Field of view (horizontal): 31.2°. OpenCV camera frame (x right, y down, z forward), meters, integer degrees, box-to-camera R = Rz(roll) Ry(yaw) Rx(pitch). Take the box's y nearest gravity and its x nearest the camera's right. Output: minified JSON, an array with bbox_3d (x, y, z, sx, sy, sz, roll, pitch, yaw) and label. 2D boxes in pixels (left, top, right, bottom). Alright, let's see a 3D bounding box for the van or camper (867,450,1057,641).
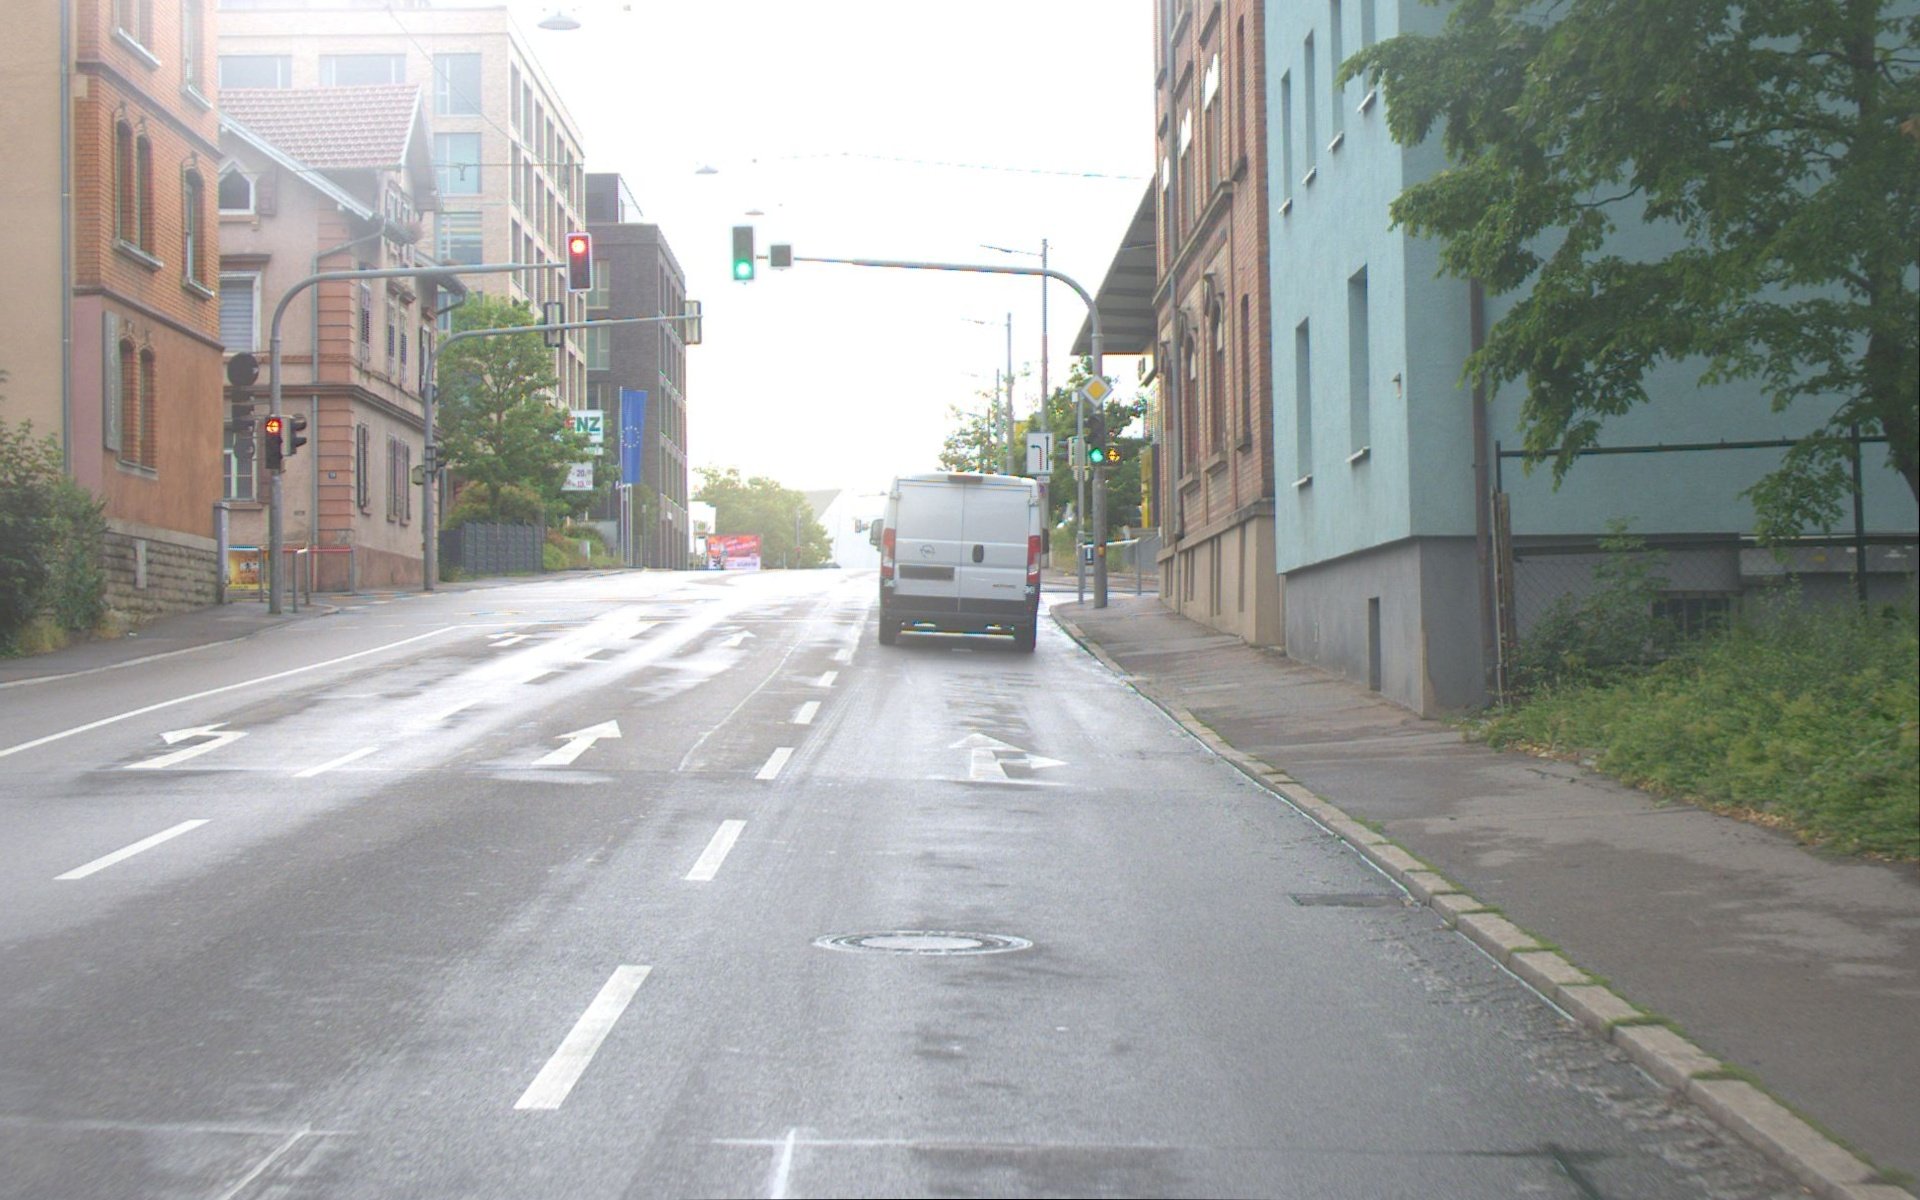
[{"bbox_3d":[0.023,-0.703,45.433,2.340,2.349,5.199,1,1,0],"label":"van or camper"}]
